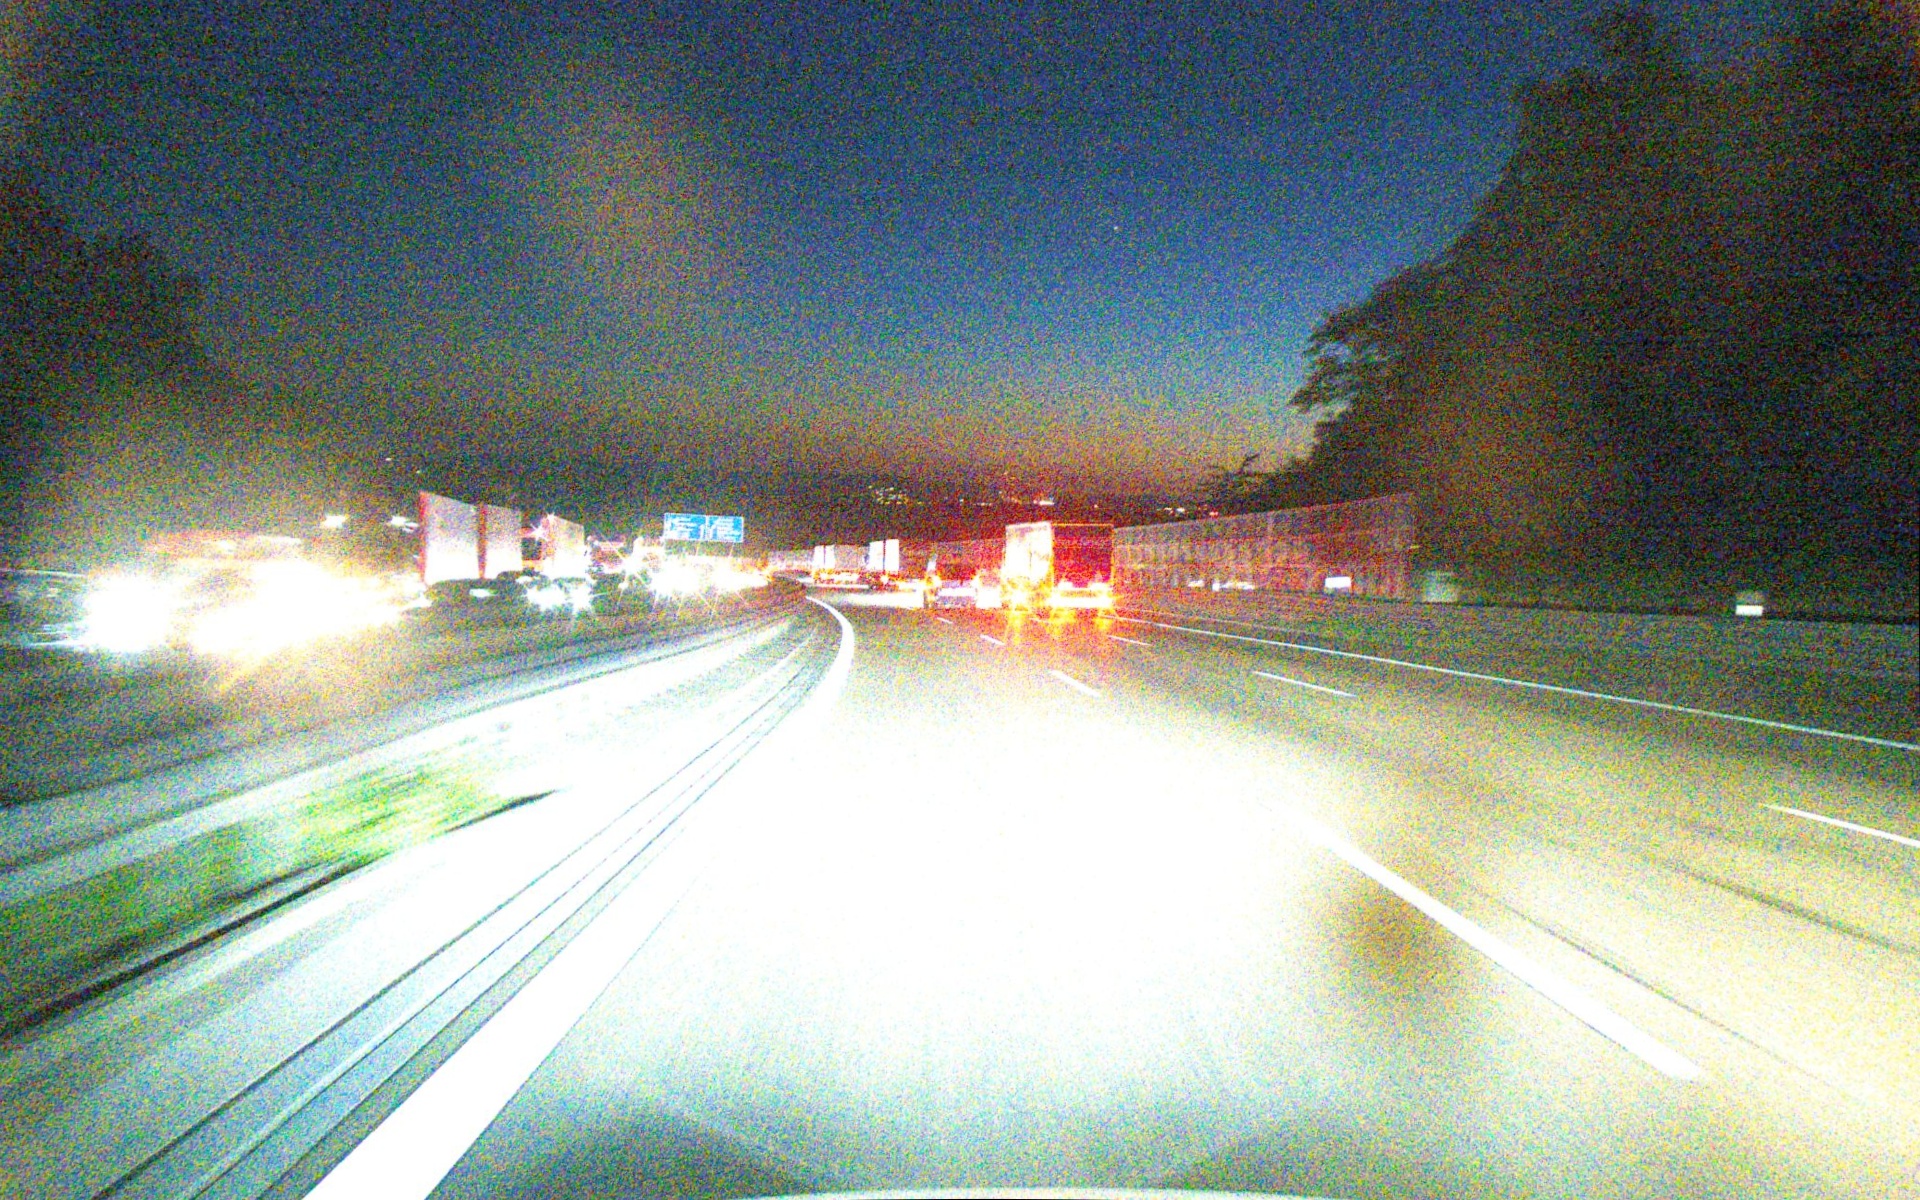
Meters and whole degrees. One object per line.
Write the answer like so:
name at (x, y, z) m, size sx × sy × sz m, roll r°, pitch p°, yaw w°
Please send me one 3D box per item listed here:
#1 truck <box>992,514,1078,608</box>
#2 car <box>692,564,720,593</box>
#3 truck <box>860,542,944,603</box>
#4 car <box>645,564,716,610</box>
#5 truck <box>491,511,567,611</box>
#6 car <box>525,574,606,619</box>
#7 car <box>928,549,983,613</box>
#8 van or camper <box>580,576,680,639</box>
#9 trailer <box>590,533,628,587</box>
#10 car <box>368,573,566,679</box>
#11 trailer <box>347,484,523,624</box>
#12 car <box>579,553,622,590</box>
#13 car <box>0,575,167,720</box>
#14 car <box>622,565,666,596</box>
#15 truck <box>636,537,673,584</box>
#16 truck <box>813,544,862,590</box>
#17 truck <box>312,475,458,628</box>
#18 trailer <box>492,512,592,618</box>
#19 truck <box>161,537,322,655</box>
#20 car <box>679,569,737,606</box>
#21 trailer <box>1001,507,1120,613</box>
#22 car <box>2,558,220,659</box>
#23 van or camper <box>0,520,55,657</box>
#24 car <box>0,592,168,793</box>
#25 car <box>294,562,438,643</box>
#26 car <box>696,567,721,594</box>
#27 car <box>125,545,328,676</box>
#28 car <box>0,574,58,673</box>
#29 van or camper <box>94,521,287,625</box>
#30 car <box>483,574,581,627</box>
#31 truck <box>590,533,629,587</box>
truck at (3.412, -1.794, 77.339) m, size 2.807 × 4.148 × 7.499 m, roll 0°, pitch 1°, yaw -7°
car at (-17.428, -1.451, 113.577) m, size 1.841 × 1.956 × 4.859 m, roll 1°, pitch 0°, yaw -8°
truck at (-5.103, -2.193, 138.923) m, size 3.845 × 4.708 × 20.961 m, roll 0°, pitch 0°, yaw -11°
car at (-9.647, -0.454, 57.464) m, size 1.866 × 1.518 × 4.865 m, roll 1°, pitch 0°, yaw -3°
truck at (-19.529, -1.733, 75.279) m, size 2.566 × 4.343 × 5.948 m, roll 0°, pitch 1°, yaw -7°
car at (-13.967, -0.143, 58.841) m, size 1.865 × 1.518 × 4.866 m, roll 1°, pitch 0°, yaw -2°
car at (-0.241, -0.824, 74.923) m, size 2.290 × 2.686 × 5.245 m, roll 2°, pitch -1°, yaw -2°
van or camper at (-8.335, 0.166, 42.140) m, size 1.704 × 1.491 × 4.866 m, roll 1°, pitch 0°, yaw -2°
trailer at (-27.121, -3.091, 127.631) m, size 2.771 × 3.985 × 8.713 m, roll 0°, pitch 2°, yaw -12°
car at (-7.755, 0.357, 26.508) m, size 1.865 × 1.518 × 4.866 m, roll 1°, pitch 0°, yaw -2°
trailer at (-17.920, -1.545, 57.661) m, size 2.820 × 4.257 × 14.507 m, roll 0°, pitch 1°, yaw -6°
car at (-22.628, -1.751, 104.192) m, size 1.866 × 1.920 × 5.015 m, roll 3°, pitch -3°, yaw -4°
car at (-11.216, 0.491, 19.236) m, size 1.672 × 1.557 × 4.856 m, roll 0°, pitch 1°, yaw -1°
car at (-16.326, -0.997, 85.573) m, size 1.867 × 1.518 × 4.861 m, roll 1°, pitch 0°, yaw -7°
truck at (-29.506, -3.786, 160.084) m, size 3.052 × 4.168 × 7.060 m, roll 4°, pitch -1°, yaw -9°
truck at (-13.327, -3.581, 178.473) m, size 3.285 × 4.553 × 13.870 m, roll 3°, pitch 1°, yaw -12°
truck at (-17.166, -1.408, 49.770) m, size 2.810 × 4.284 × 6.098 m, roll 0°, pitch 1°, yaw -6°
trailer at (-20.439, -1.668, 81.746) m, size 2.787 × 4.540 × 14.498 m, roll -5°, pitch 1°, yaw -8°
truck at (-16.235, -0.116, 37.675) m, size 1.955 × 2.501 × 5.043 m, roll 0°, pitch 1°, yaw -7°
car at (-10.800, -0.552, 71.153) m, size 1.865 × 1.518 × 4.866 m, roll 1°, pitch 0°, yaw -2°
trailer at (4.112, -1.680, 71.441) m, size 2.799 × 4.138 × 13.187 m, roll 0°, pitch 1°, yaw -7°
car at (-15.654, 0.114, 30.822) m, size 1.849 × 1.706 × 5.074 m, roll 0°, pitch 1°, yaw -6°
van or camper at (-19.960, -0.216, 31.704) m, size 1.954 × 2.702 × 6.613 m, roll 0°, pitch 1°, yaw -4°
car at (-6.932, 0.598, 11.495) m, size 1.389 × 1.278 × 3.128 m, roll 0°, pitch 1°, yaw -1°
car at (-12.447, 0.066, 34.925) m, size 1.861 × 1.550 × 4.343 m, roll -2°, pitch 0°, yaw -6°
car at (-19.290, -1.476, 126.725) m, size 1.841 × 1.956 × 5.592 m, roll 1°, pitch 0°, yaw -9°
car at (-11.955, 0.181, 27.247) m, size 1.643 × 1.883 × 4.108 m, roll 4°, pitch -1°, yaw -4°
car at (-14.861, 0.400, 23.554) m, size 1.860 × 1.412 × 4.346 m, roll -2°, pitch 2°, yaw -4°
van or camper at (-21.237, -0.754, 46.098) m, size 2.532 × 2.638 × 7.106 m, roll 0°, pitch 1°, yaw -5°
car at (-13.085, -0.001, 50.860) m, size 1.865 × 1.518 × 4.935 m, roll 1°, pitch 0°, yaw -2°
truck at (-26.242, -2.983, 123.608) m, size 2.778 × 3.984 × 4.920 m, roll 0°, pitch 1°, yaw -13°
